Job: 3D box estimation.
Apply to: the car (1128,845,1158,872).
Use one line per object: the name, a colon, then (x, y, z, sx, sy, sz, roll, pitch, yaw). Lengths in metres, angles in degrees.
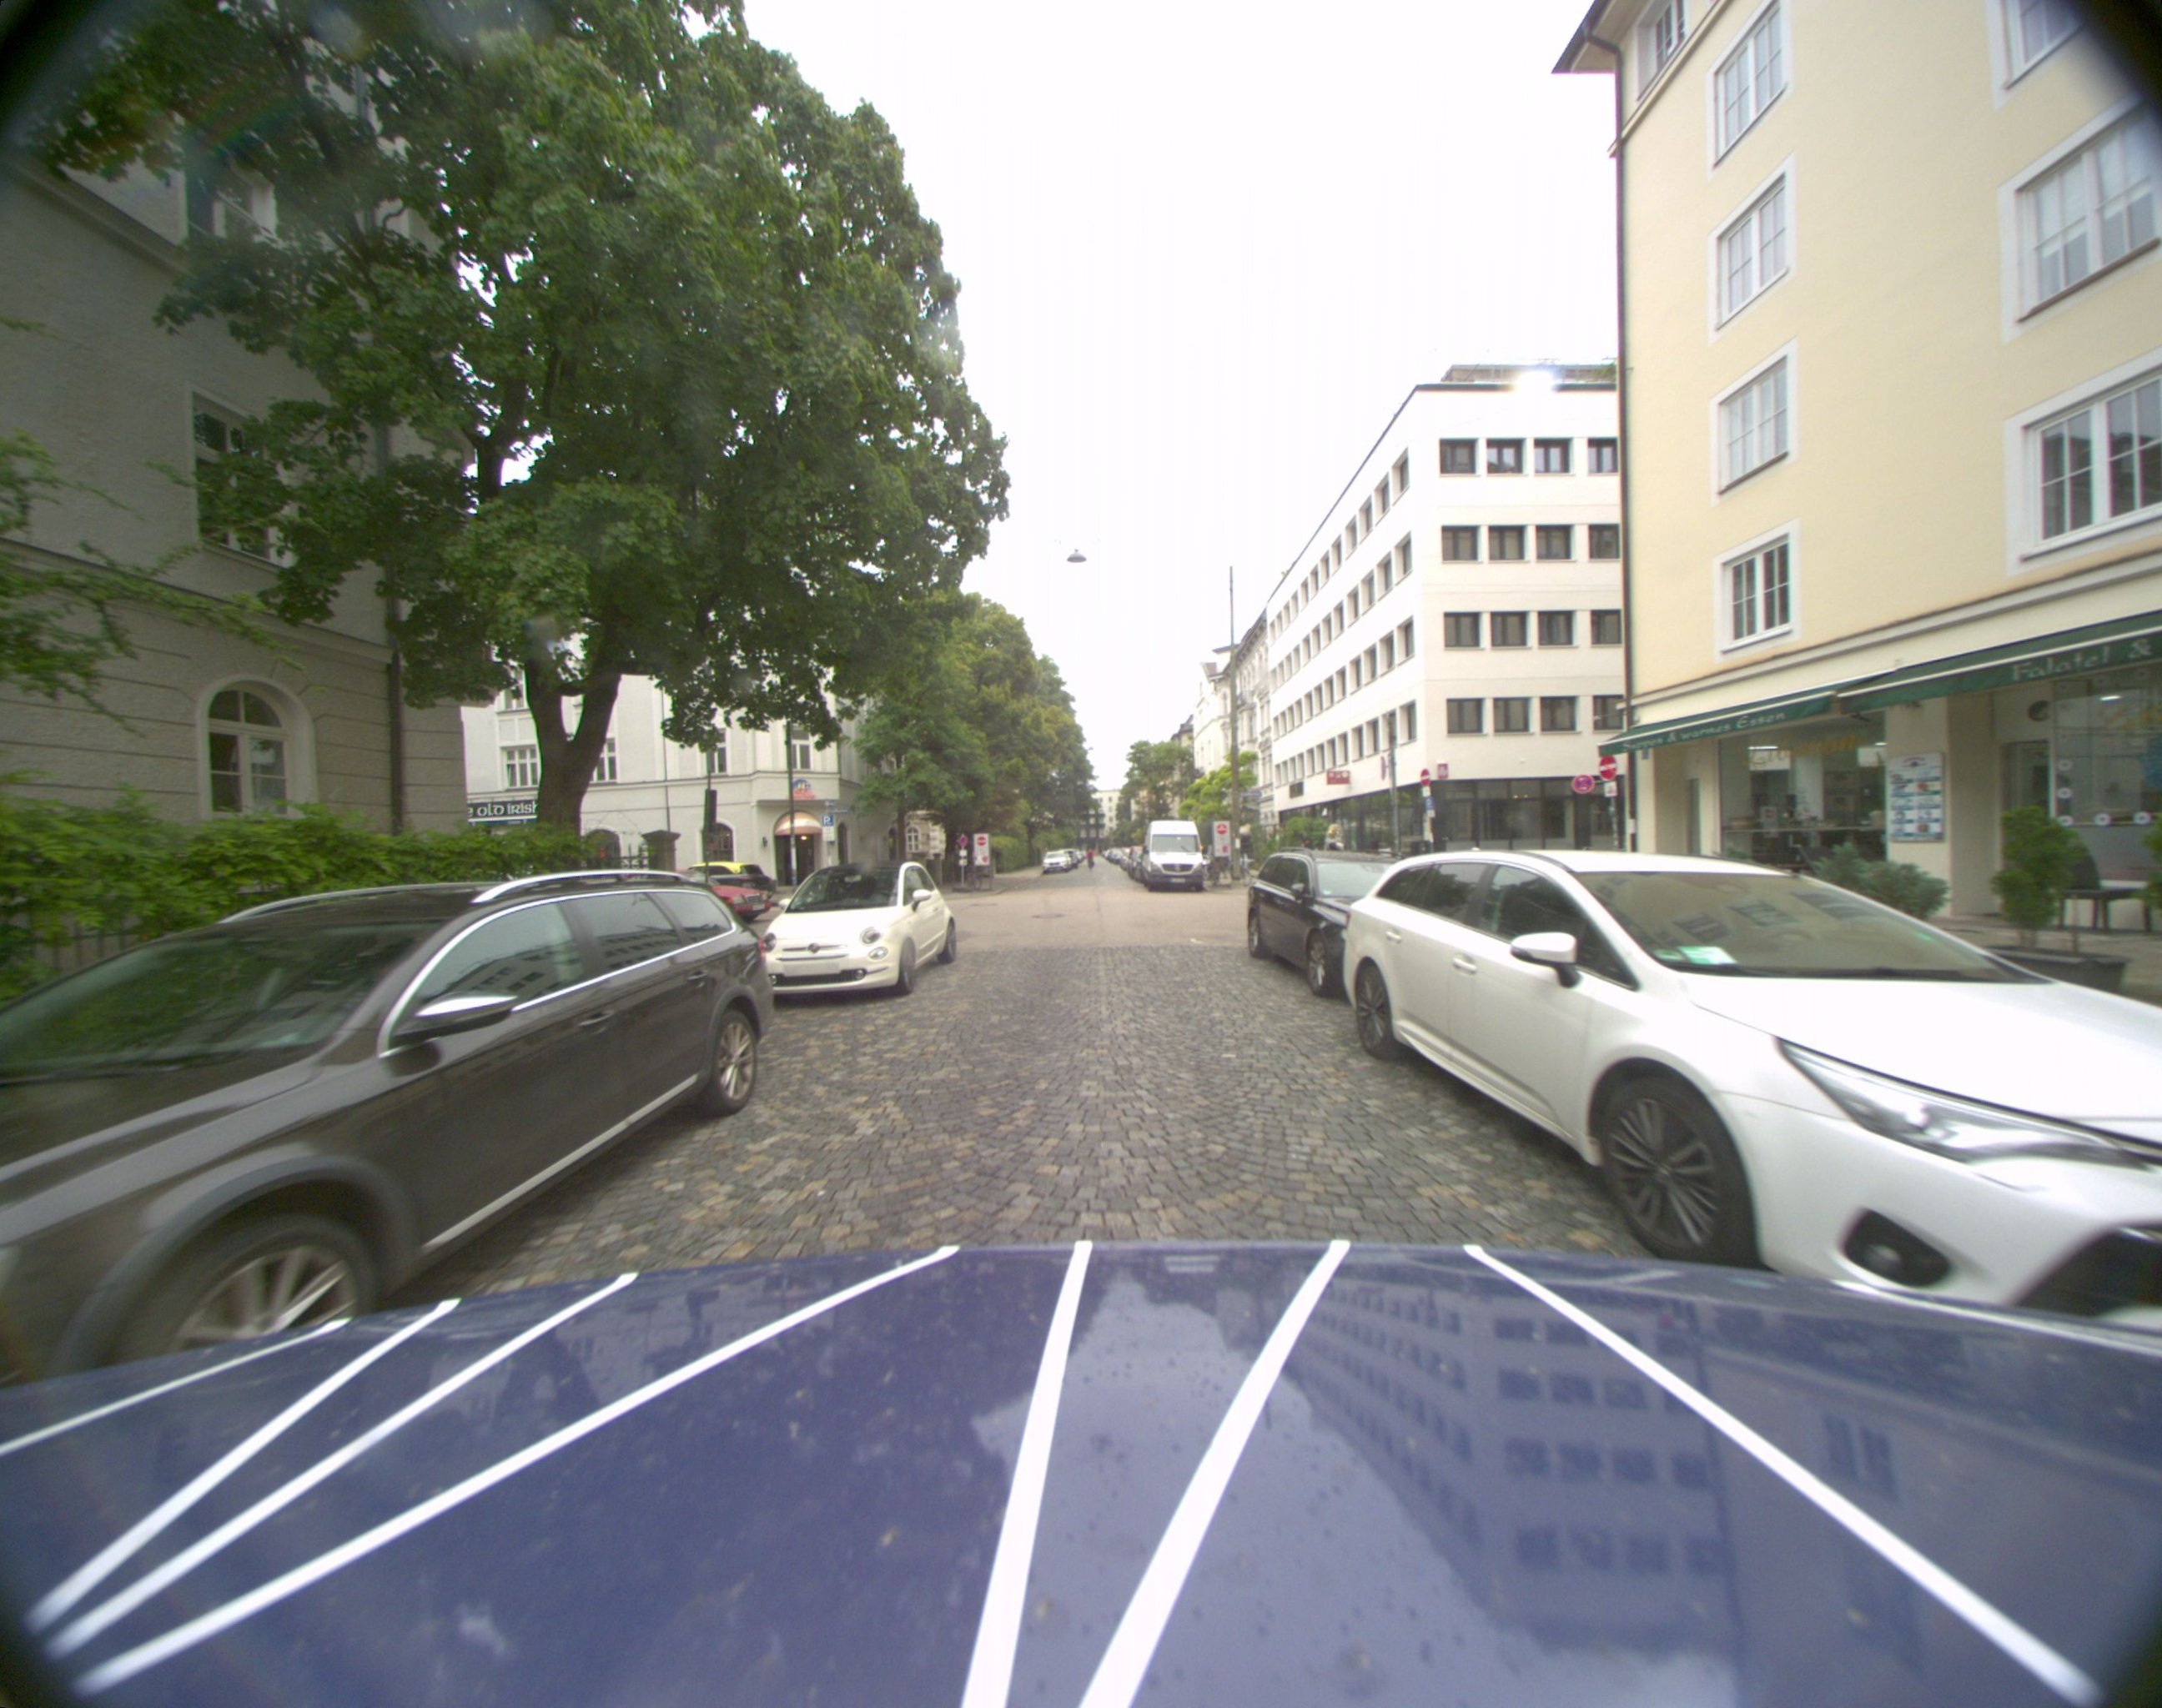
car: (4.064, 0.260, 50.622, 1.722, 1.713, 3.898, -1, 1, 1)

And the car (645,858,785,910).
car: (-12.938, 1.063, 26.962, 4.081, 1.588, 1.907, -3, 1, 14)

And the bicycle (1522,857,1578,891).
bicycle: (14.438, 0.602, 23.425, 0.398, 0.963, 1.893, -3, 1, -5)

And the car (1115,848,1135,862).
car: (4.822, 0.108, 83.573, 1.886, 1.411, 4.808, -2, 1, 1)

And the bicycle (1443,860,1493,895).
bicycle: (11.756, 0.690, 23.130, 0.398, 0.963, 1.893, -3, 1, -5)

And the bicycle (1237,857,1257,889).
bicycle: (6.060, 0.682, 27.859, 0.286, 1.085, 1.815, -3, 1, 0)

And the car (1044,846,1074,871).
car: (-1.666, 0.323, 58.638, 1.925, 1.676, 4.633, -2, 1, 2)

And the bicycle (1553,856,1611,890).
bicycle: (15.486, 0.561, 23.556, 0.398, 0.963, 1.893, -3, 1, -5)

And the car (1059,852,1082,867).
car: (-1.022, 0.463, 70.361, 1.924, 1.290, 4.807, -2, 0, -3)

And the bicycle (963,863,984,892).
bicycle: (-4.519, 0.980, 31.887, 0.389, 1.140, 1.590, -2, 1, 8)

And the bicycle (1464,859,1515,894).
bicycle: (12.454, 0.668, 23.212, 0.398, 0.963, 1.893, -3, 1, -5)

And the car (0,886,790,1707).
car: (-2.970, 1.054, 3.085, 1.652, 1.414, 4.631, -6, 1, 0)

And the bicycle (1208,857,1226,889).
bicycle: (5.028, 0.690, 28.178, 0.286, 1.085, 1.815, -3, 1, 0)

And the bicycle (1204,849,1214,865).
bicycle: (8.635, 0.210, 51.413, 0.258, 1.072, 1.685, -3, 0, -3)

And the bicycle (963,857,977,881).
bicycle: (-5.958, 0.808, 40.835, 0.428, 1.191, 1.730, 3, 1, 2)

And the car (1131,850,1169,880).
car: (3.612, 0.529, 40.292, 1.730, 1.456, 4.473, 0, 1, 2)

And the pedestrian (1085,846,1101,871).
pedestrian: (0.891, 0.304, 55.526, 1.105, 1.768, 1.263, -3, 1, 2)

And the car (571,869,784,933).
car: (-9.976, 1.141, 18.938, 4.475, 1.350, 1.761, -2, 1, 9)

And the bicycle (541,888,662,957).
bicycle: (-8.284, 1.184, 13.131, 1.841, 1.117, 0.563, -2, 1, 11)

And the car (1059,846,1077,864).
car: (-1.422, 0.101, 84.743, 1.818, 1.809, 4.808, -3, 1, 0)

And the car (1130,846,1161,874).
car: (3.860, 0.324, 45.139, 1.697, 1.495, 3.777, -3, 1, 5)

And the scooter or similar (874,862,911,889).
scooter or similar: (-8.185, 0.935, 33.010, 1.604, 1.166, 0.405, -1, 2, 25)

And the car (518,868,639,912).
car: (-18.784, 1.333, 28.461, 3.534, 1.417, 1.702, -3, 1, 13)

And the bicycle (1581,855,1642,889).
bicycle: (16.460, 0.535, 23.628, 0.398, 0.963, 1.893, -3, 1, -5)

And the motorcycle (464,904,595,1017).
motorcycle: (-6.401, 1.199, 8.906, 0.363, 1.084, 1.403, -3, 1, 4)

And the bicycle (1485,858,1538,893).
bicycle: (13.146, 0.628, 23.275, 0.398, 0.963, 1.893, -3, 1, -5)

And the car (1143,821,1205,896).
car: (3.431, 0.104, 29.010, 1.981, 2.559, 5.794, -1, 1, 3)

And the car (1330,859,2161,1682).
car: (2.878, 0.887, 3.827, 1.778, 1.527, 4.540, -3, 1, 1)

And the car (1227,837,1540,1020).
car: (3.218, 0.635, 9.287, 1.857, 1.577, 4.747, -3, 1, 0)

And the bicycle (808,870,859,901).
bicycle: (-9.161, 1.151, 28.176, 1.605, 1.064, 0.738, -1, 5, 4)

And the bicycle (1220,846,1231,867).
bicycle: (8.372, 0.129, 44.023, 0.361, 1.168, 1.911, -3, 1, 3)

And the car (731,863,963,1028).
car: (-2.621, 0.938, 9.442, 1.505, 1.462, 3.795, -2, 1, 2)

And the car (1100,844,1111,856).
car: (4.122, -0.686, 128.465, 1.762, 2.002, 4.000, -3, 1, 2)

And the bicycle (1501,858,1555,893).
bicycle: (13.688, 0.639, 23.324, 0.398, 0.963, 1.893, -3, 1, -5)

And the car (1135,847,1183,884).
car: (3.504, 0.487, 34.645, 1.666, 1.474, 3.981, -3, 1, -1)

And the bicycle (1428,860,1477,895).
bicycle: (11.266, 0.696, 23.081, 0.398, 0.963, 1.893, -3, 1, -5)

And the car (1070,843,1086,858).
car: (-0.381, -0.503, 110.282, 1.998, 2.002, 4.000, -3, 1, 2)

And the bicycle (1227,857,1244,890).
bicycle: (5.656, 0.693, 27.865, 0.256, 1.120, 1.806, -3, 1, 1)

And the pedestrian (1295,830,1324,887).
pedestrian: (7.629, 0.146, 25.385, 0.615, 1.830, 0.813, -3, 1, -5)
